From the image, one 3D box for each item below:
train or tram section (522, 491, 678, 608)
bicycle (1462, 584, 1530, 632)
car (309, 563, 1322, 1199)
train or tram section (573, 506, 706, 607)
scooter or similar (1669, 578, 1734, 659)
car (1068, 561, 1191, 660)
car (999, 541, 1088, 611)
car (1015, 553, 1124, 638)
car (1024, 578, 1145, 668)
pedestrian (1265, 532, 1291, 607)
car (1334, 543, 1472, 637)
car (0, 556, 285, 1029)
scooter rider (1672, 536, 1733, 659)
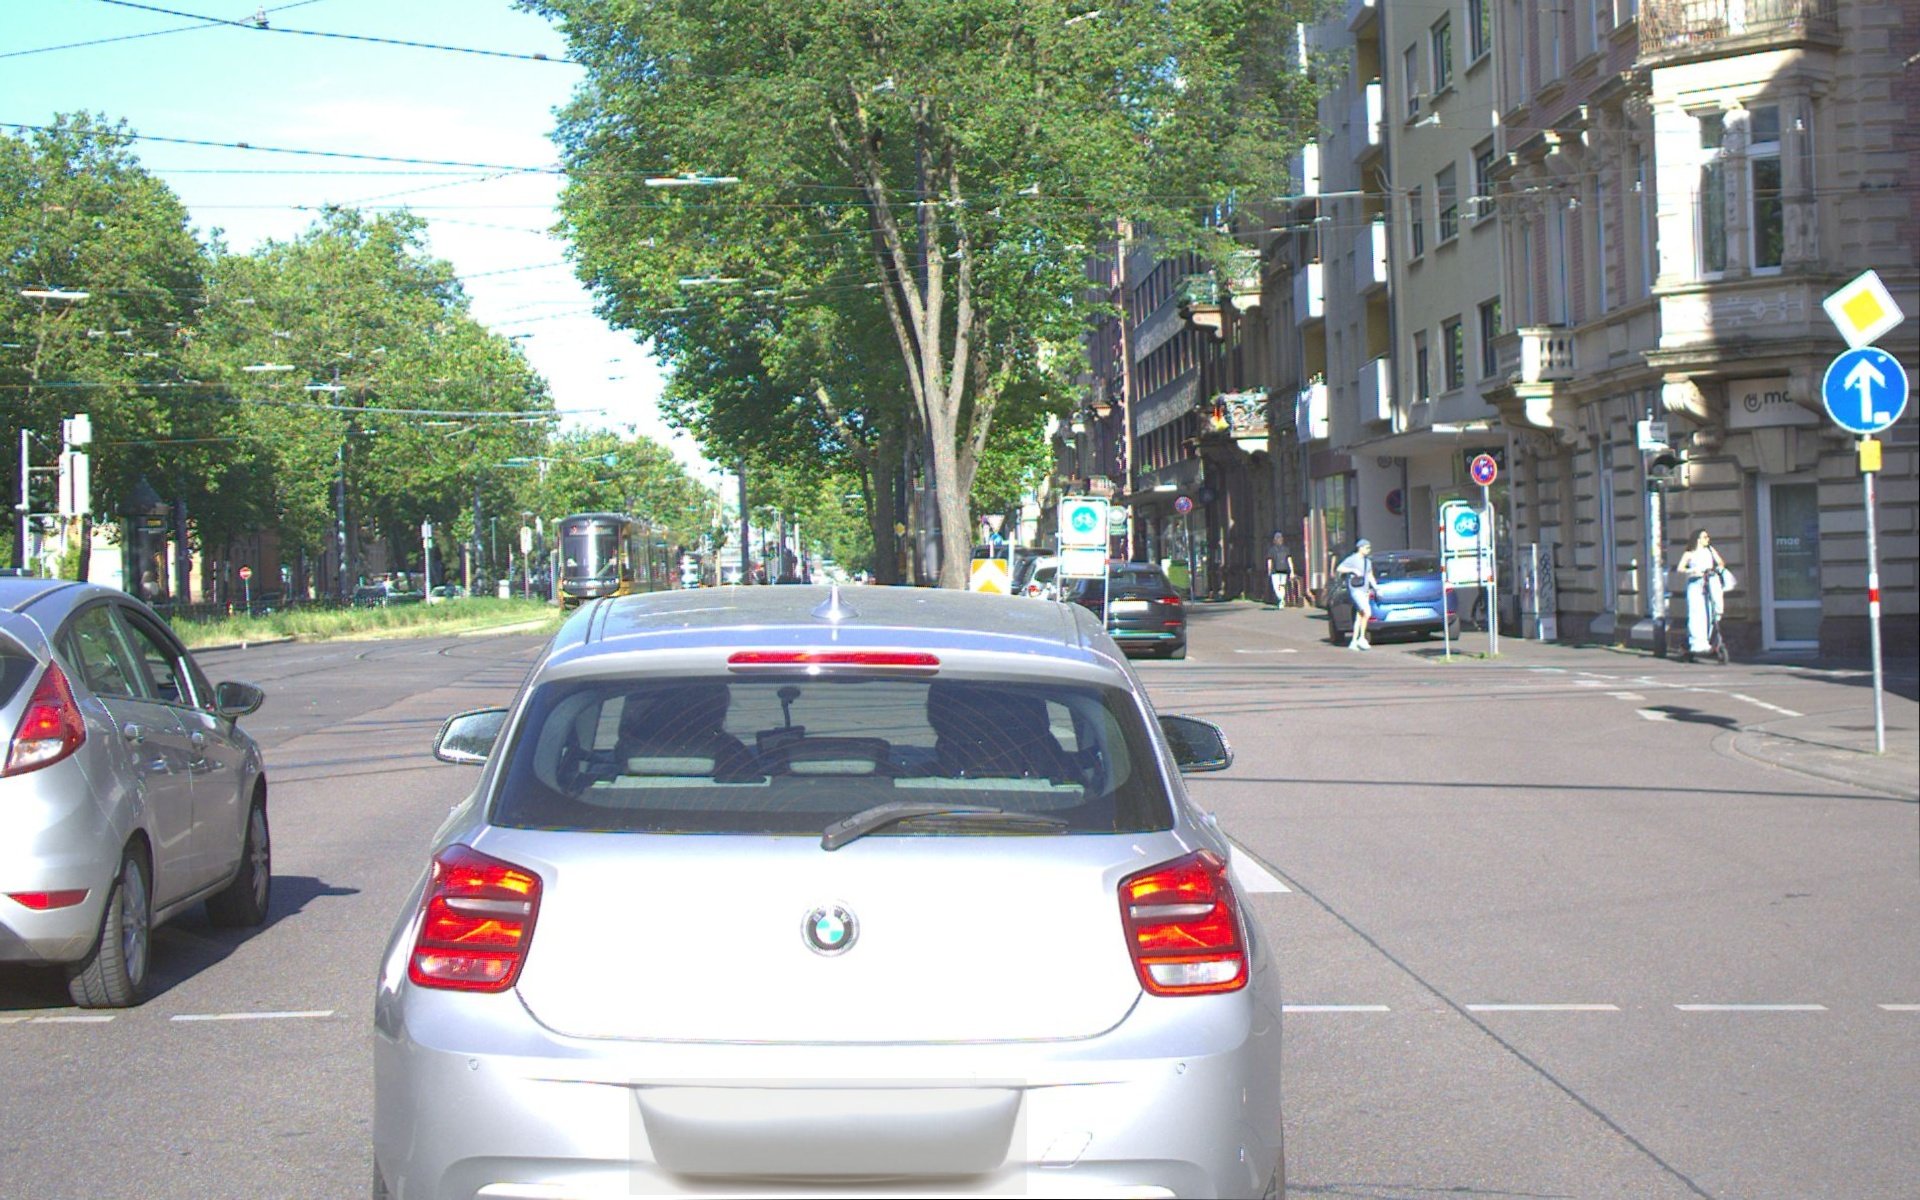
[{"bbox_3d":[-12.760,-1.800,123.819,3.969,3.852,17.489,-1,1,-1],"label":"train or tram section"},{"bbox_3d":[9.011,0.133,57.893,0.754,0.768,1.945,-1,1,-2],"label":"bicycle"},{"bbox_3d":[-0.284,0.657,7.927,1.740,1.462,4.000,0,1,-1],"label":"car"},{"bbox_3d":[-13.009,-1.792,141.435,4.005,3.852,17.489,-1,1,-1],"label":"train or tram section"},{"bbox_3d":[9.222,0.222,42.787,0.337,0.984,1.284,-1,1,-9],"label":"scooter or similar"},{"bbox_3d":[2.511,0.126,51.705,1.735,1.428,3.678,0,1,1],"label":"car"},{"bbox_3d":[1.812,-0.540,75.663,1.724,1.502,3.555,0,1,-2],"label":"car"},{"bbox_3d":[1.975,-0.099,62.869,1.724,1.502,3.555,0,1,-2],"label":"car"},{"bbox_3d":[2.036,0.352,57.209,1.743,1.428,3.555,0,1,-2],"label":"car"},{"bbox_3d":[7.694,-0.731,83.242,0.505,1.796,0.805,-1,1,-1],"label":"pedestrian"},{"bbox_3d":[7.375,-0.185,57.526,1.735,1.514,3.637,0,1,-2],"label":"car"},{"bbox_3d":[-3.575,0.586,12.596,1.609,1.462,3.890,-1,1,-3],"label":"car"},{"bbox_3d":[9.225,-0.039,42.718,0.465,1.500,0.811,-1,1,-8],"label":"scooter rider"}]
